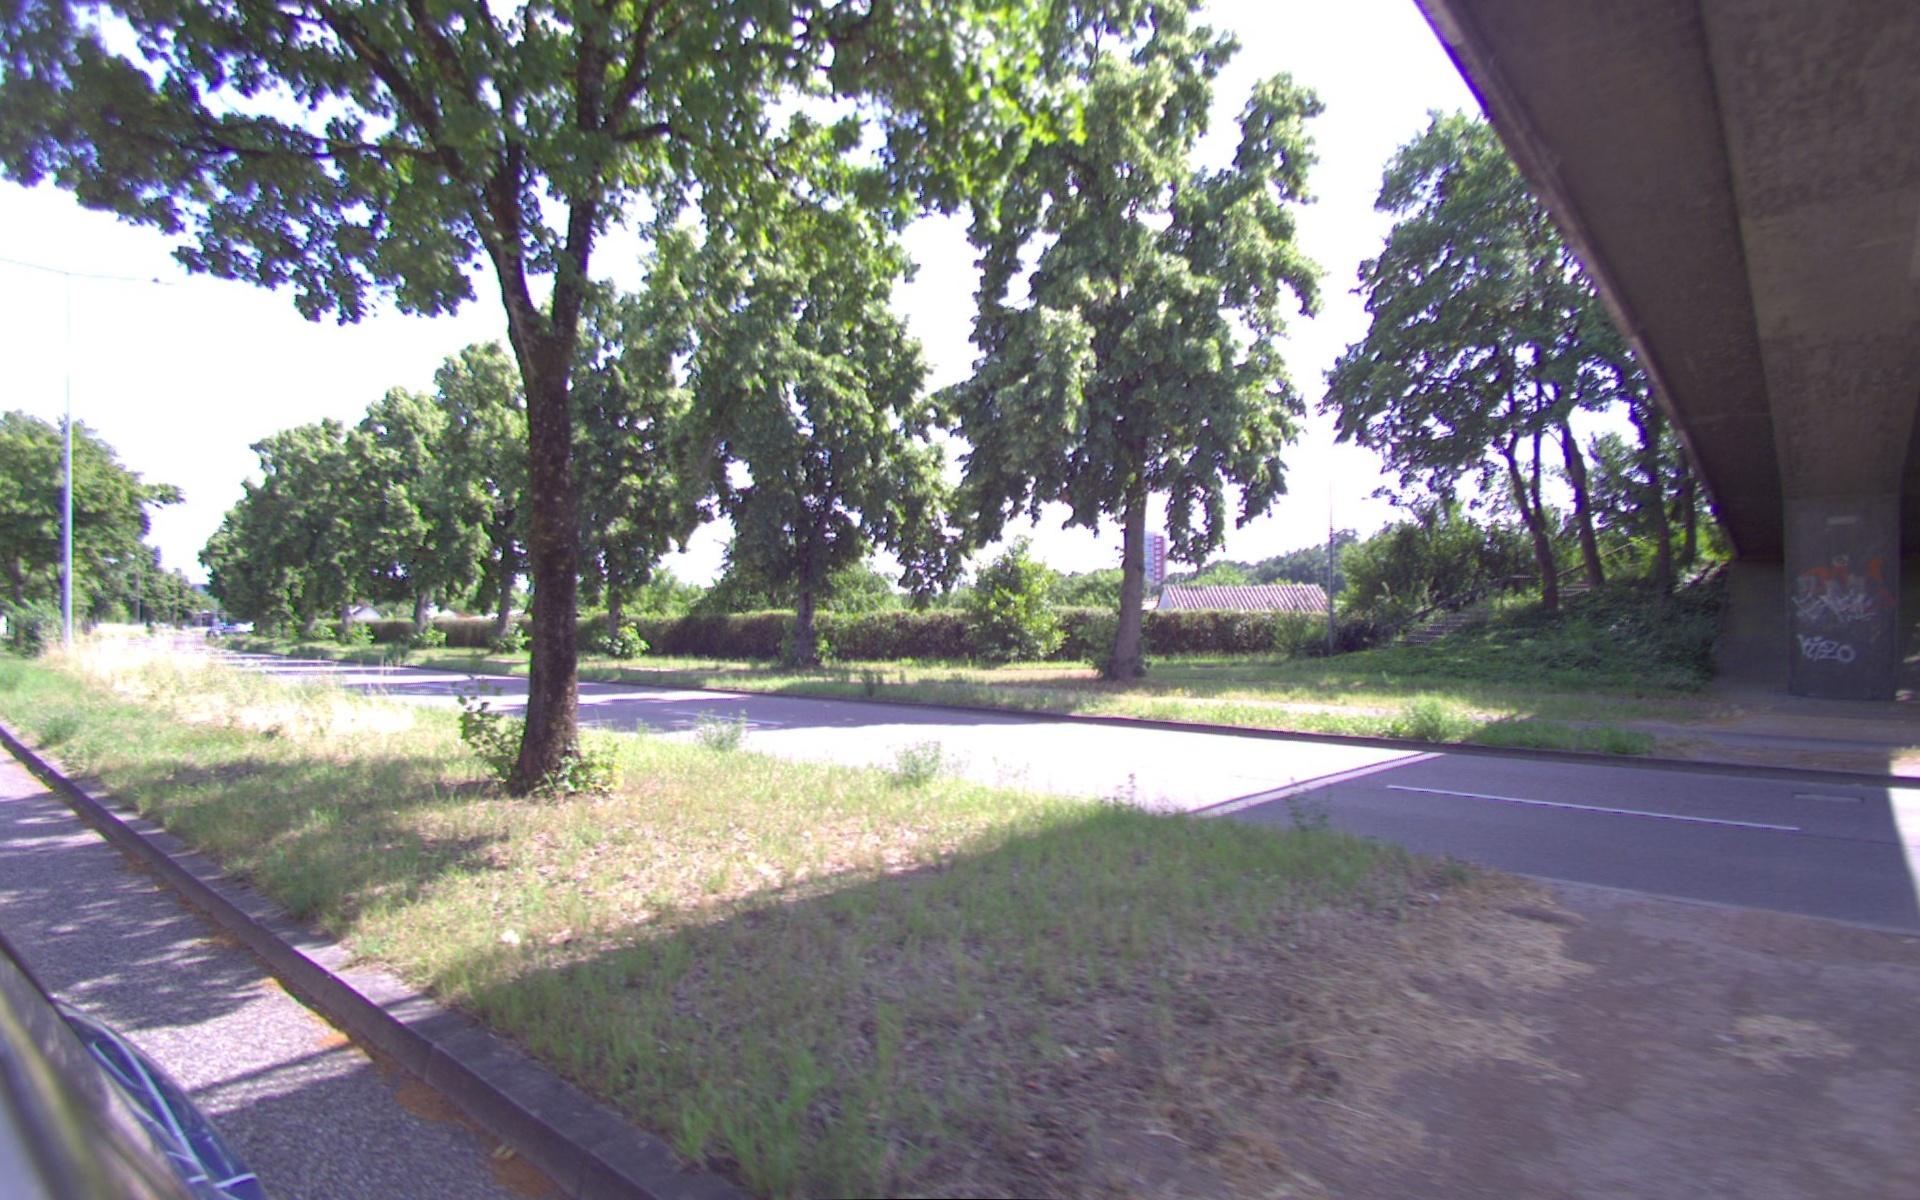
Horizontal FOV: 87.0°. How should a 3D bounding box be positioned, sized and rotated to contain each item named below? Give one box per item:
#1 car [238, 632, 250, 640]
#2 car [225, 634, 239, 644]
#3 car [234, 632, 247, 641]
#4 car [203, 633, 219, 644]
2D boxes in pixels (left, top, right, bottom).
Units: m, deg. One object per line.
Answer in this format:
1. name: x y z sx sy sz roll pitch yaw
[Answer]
1. car: -150.849 7.634 213.224 1.713 1.598 4.124 2 -3 -32
2. car: -128.689 6.900 178.830 1.713 1.598 4.124 2 -3 -32
3. car: -135.526 6.901 190.646 1.713 1.598 4.124 2 -3 -32
4. car: -112.968 5.848 152.701 1.713 1.598 4.123 2 -3 -34
